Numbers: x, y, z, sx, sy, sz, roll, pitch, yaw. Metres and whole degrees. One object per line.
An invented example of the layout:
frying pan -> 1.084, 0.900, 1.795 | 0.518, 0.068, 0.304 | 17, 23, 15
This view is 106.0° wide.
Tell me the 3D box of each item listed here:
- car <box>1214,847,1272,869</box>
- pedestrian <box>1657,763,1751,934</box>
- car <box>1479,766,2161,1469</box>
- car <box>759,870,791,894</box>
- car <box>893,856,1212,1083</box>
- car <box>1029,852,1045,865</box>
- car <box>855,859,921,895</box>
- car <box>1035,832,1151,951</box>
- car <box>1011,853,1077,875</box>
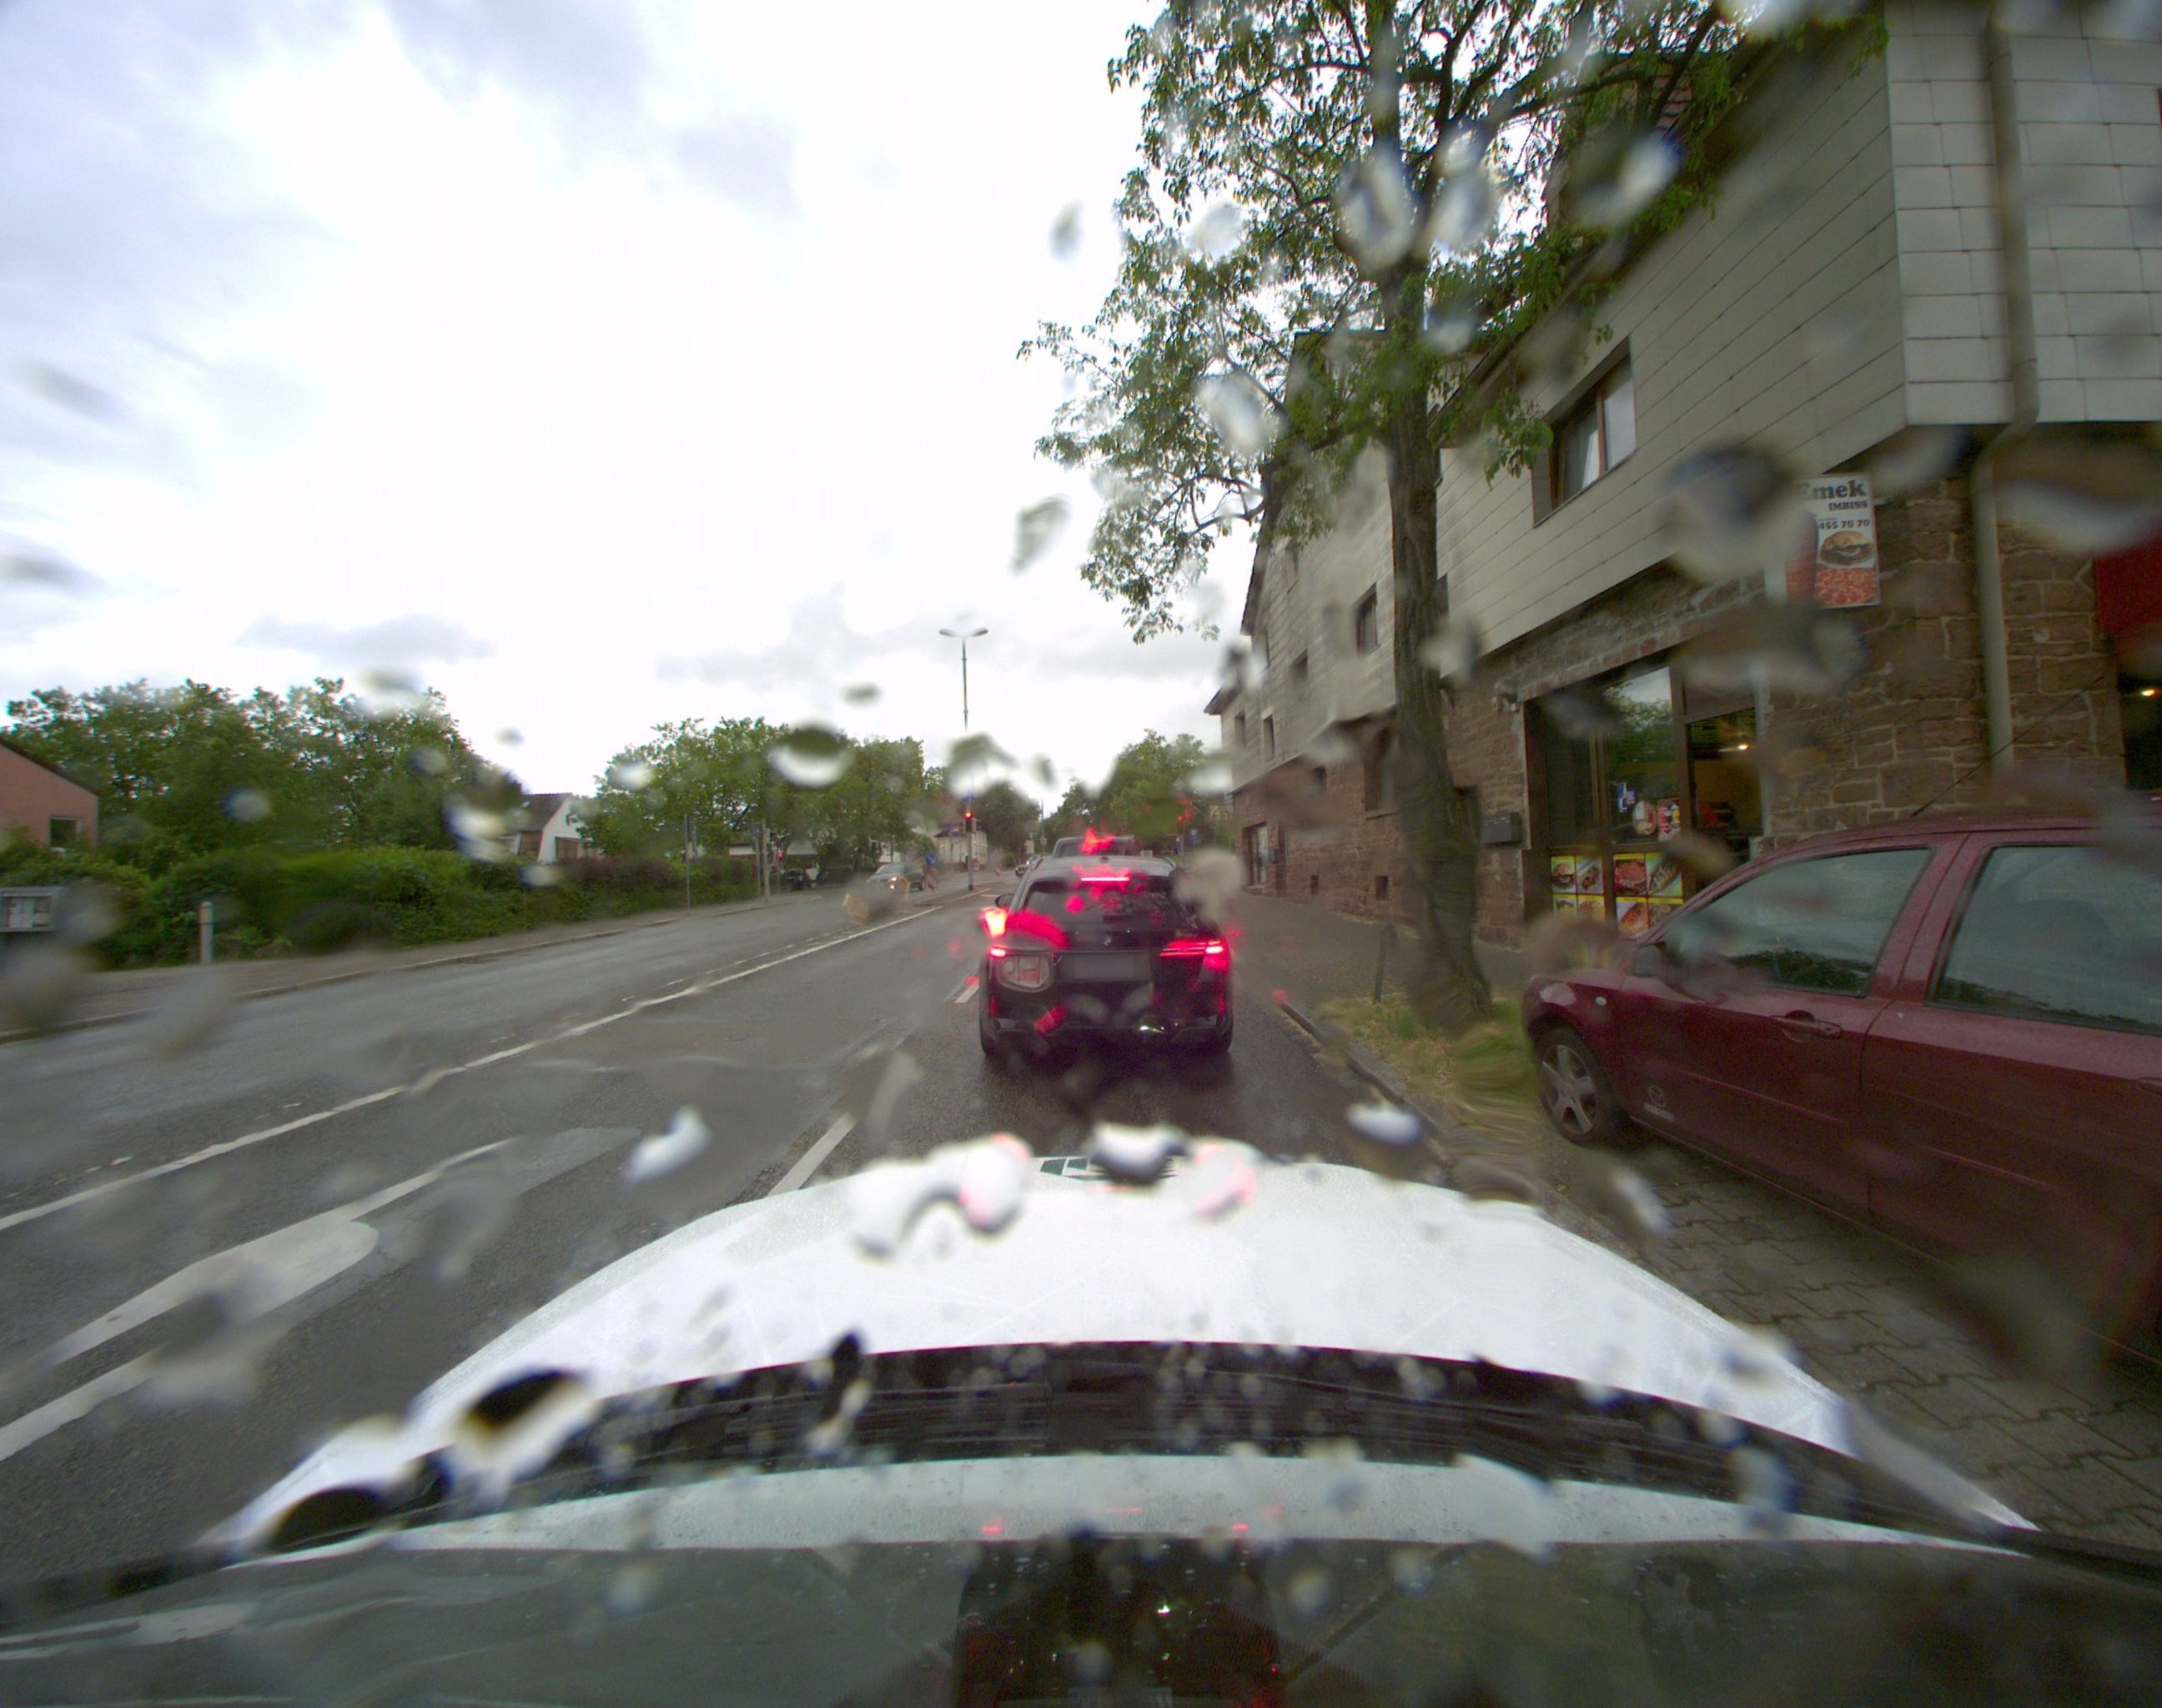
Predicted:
car -> 12.345, 0.294, 62.014 | 3.999, 1.552, 1.813 | -2, 0, -19
pedestrian -> 6.907, -0.060, 9.046 | 0.635, 1.839, 0.483 | -1, 0, 1
car -> 3.033, 0.506, 2.624 | 1.579, 1.490, 3.625 | -5, 1, -1
car -> -21.626, 1.931, 57.635 | 2.000, 1.552, 3.973 | -2, 0, -20
car -> -0.204, 0.755, 7.548 | 2.058, 1.446, 4.481 | -1, 0, -1
car -> -5.005, 0.469, 92.433 | 1.459, 1.398, 3.323 | -1, 0, 2
car -> -8.941, 1.026, 38.067 | 1.986, 1.510, 3.957 | -1, 0, 2
car -> 0.186, 0.574, 14.760 | 1.778, 1.817, 3.999 | -1, 0, 0
car -> -2.422, 0.630, 53.645 | 4.021, 1.288, 1.827 | -2, 0, -40
